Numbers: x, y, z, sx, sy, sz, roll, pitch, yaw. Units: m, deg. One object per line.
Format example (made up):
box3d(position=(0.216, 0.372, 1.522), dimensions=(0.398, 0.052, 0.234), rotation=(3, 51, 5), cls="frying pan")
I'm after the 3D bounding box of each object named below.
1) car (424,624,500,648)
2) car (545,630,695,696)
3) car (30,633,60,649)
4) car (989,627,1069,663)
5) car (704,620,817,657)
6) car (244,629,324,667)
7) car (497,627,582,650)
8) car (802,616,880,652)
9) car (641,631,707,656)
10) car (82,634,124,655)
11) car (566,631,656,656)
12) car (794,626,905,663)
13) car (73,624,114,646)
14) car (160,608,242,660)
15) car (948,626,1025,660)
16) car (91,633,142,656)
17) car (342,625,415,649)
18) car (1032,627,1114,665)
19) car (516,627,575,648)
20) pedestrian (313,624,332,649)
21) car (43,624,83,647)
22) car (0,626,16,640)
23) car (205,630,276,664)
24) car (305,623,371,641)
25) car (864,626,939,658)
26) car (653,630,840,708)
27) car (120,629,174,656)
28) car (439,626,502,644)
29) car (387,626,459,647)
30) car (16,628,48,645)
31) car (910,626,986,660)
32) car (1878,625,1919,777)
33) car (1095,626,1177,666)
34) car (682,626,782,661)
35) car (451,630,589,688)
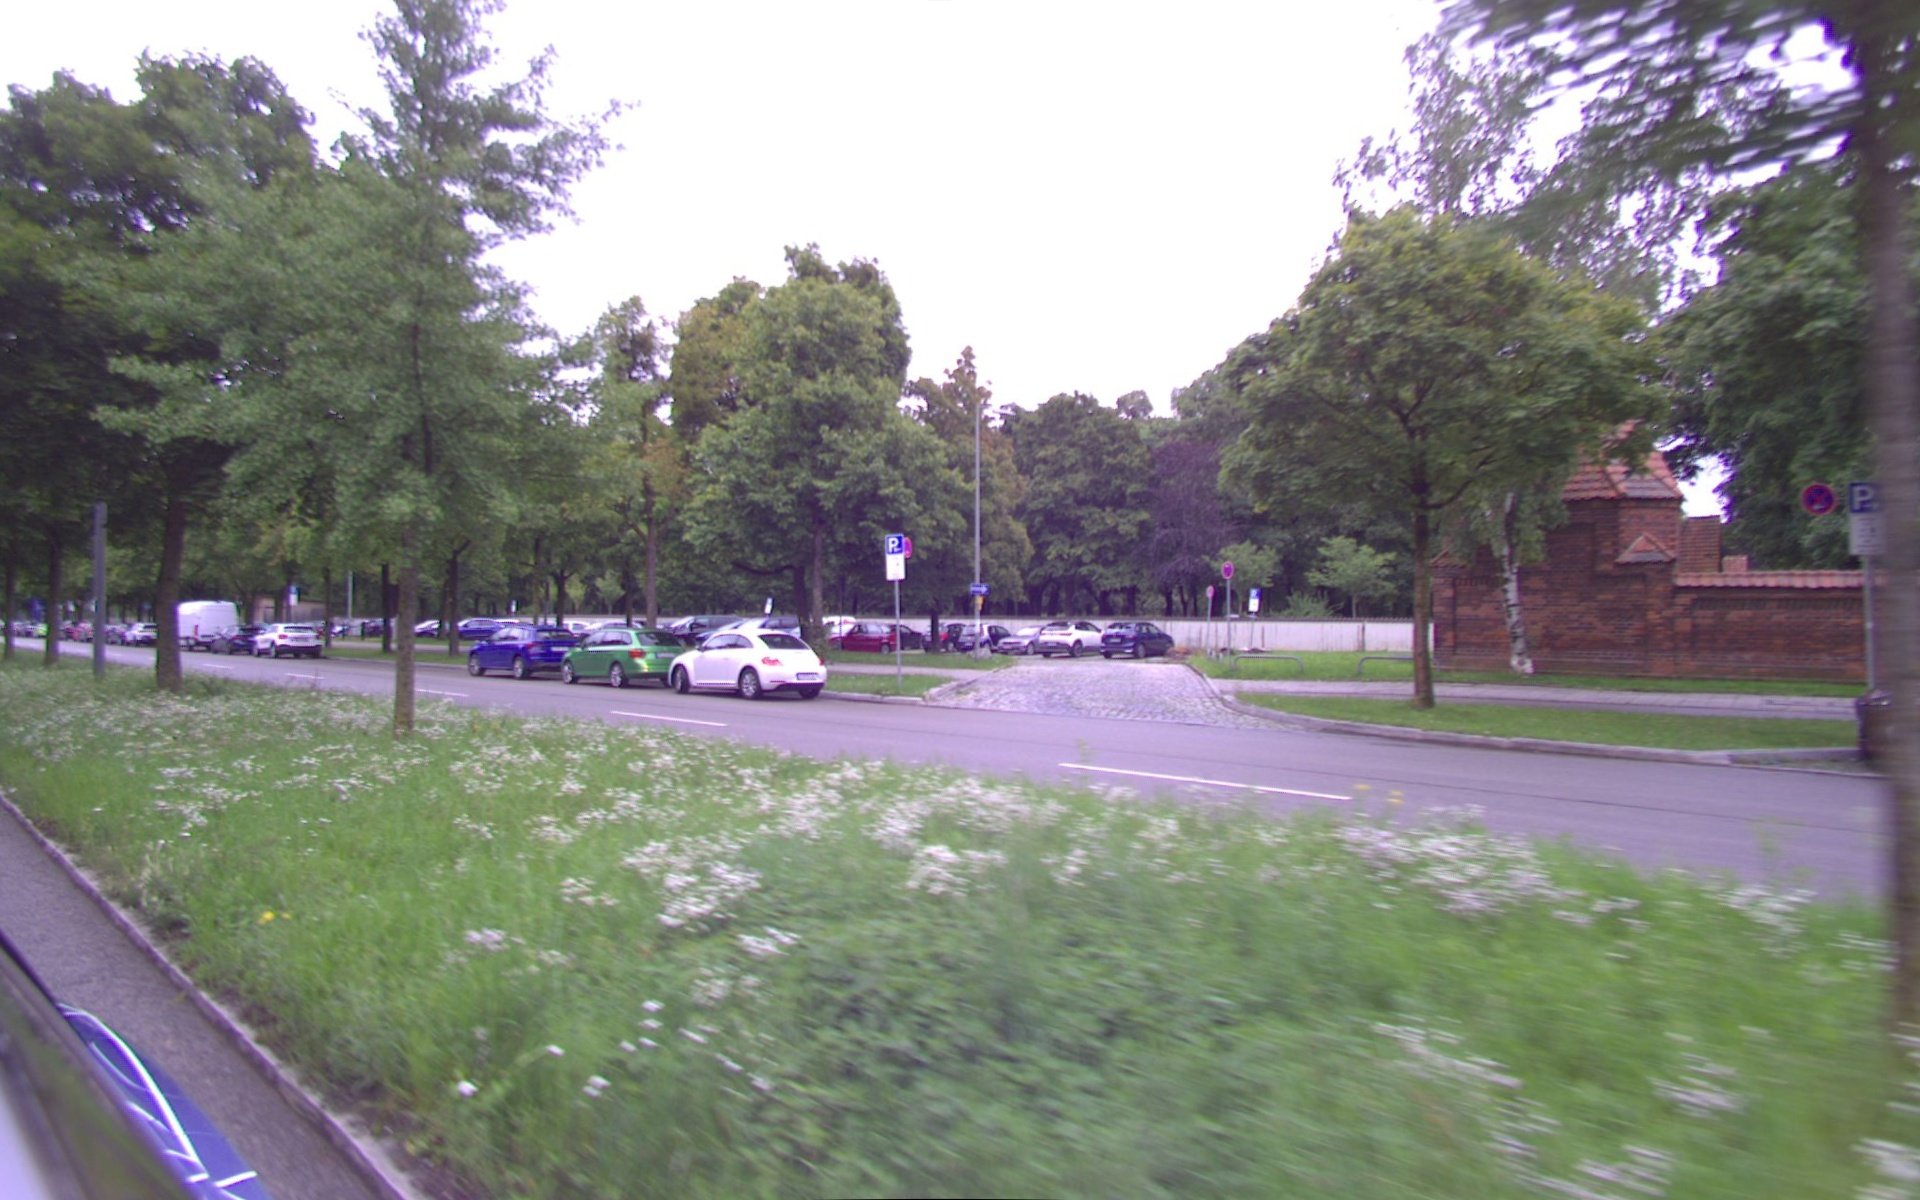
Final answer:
box3d(position=(-31.367, 2.263, 63.856), dimensions=(3.940, 1.449, 1.816), rotation=(1, -2, -44), cls="car")
box3d(position=(-8.685, 1.561, 25.691), dimensions=(4.312, 1.549, 1.621), rotation=(-1, -4, 41), cls="car")
box3d(position=(-85.035, 3.793, 94.044), dimensions=(3.999, 1.511, 1.622), rotation=(-2, -4, 42), cls="car")
box3d(position=(3.353, 2.123, 48.663), dimensions=(1.814, 1.548, 3.946), rotation=(-1, 0, 40), cls="car")
box3d(position=(-8.498, 1.632, 43.271), dimensions=(4.293, 1.516, 2.004), rotation=(1, -2, -39), cls="car")
box3d(position=(-29.782, 2.062, 44.554), dimensions=(4.139, 1.502, 1.838), rotation=(0, -1, 40), cls="car")
box3d(position=(-22.880, 2.059, 55.159), dimensions=(1.784, 1.219, 3.942), rotation=(-2, -2, 44), cls="car")
box3d(position=(-7.041, 1.997, 60.257), dimensions=(1.999, 2.050, 4.459), rotation=(-1, -2, 40), cls="car")
box3d(position=(-19.238, 2.910, 68.130), dimensions=(3.940, 1.608, 1.771), rotation=(1, -2, -44), cls="car")
box3d(position=(-60.935, 3.158, 71.944), dimensions=(4.001, 1.420, 1.801), rotation=(-1, -4, 44), cls="car")
box3d(position=(-18.379, 2.278, 53.436), dimensions=(1.784, 1.219, 4.126), rotation=(-2, -2, 44), cls="car")
box3d(position=(-4.331, 1.724, 40.116), dimensions=(1.758, 1.403, 4.367), rotation=(-1, -2, 41), cls="car")
box3d(position=(-64.634, 2.585, 75.464), dimensions=(4.112, 1.611, 1.802), rotation=(-1, -2, 43), cls="car")
box3d(position=(-41.331, 1.871, 55.037), dimensions=(7.102, 2.664, 2.117), rotation=(-2, -4, 42), cls="car")
box3d(position=(1.361, 2.133, 50.870), dimensions=(1.814, 1.548, 3.946), rotation=(-1, 0, 40), cls="car")
box3d(position=(-55.890, 2.947, 67.042), dimensions=(3.995, 1.459, 1.804), rotation=(-1, -3, 38), cls="car")
box3d(position=(-39.667, 2.527, 69.103), dimensions=(1.810, 1.582, 3.952), rotation=(-1, -2, 35), cls="car")
box3d(position=(5.176, 2.053, 46.053), dimensions=(1.814, 1.548, 3.946), rotation=(-1, 0, 40), cls="car")
box3d(position=(-32.799, 2.950, 80.081), dimensions=(3.940, 1.666, 1.771), rotation=(1, -2, -44), cls="car")
box3d(position=(-39.236, 2.235, 62.284), dimensions=(0.856, 1.507, 0.786), rotation=(-1, -2, 41), cls="pedestrian")
box3d(position=(-72.329, 2.872, 81.607), dimensions=(4.236, 1.712, 1.803), rotation=(0, -1, 40), cls="car")
box3d(position=(-104.517, 3.594, 110.348), dimensions=(3.784, 1.457, 1.803), rotation=(-1, -4, 39), cls="car")
box3d(position=(-35.387, 2.257, 49.715), dimensions=(4.249, 1.502, 1.838), rotation=(0, -1, 40), cls="car")
box3d(position=(-47.663, 2.425, 77.565), dimensions=(1.737, 1.293, 3.952), rotation=(-1, -2, 35), cls="car")
box3d(position=(-3.141, 2.229, 54.917), dimensions=(1.814, 1.548, 3.946), rotation=(-1, 0, 40), cls="car")
box3d(position=(-4.738, 1.461, 22.165), dimensions=(4.312, 1.549, 1.742), rotation=(-1, -4, 41), cls="car")
box3d(position=(-51.467, 2.694, 64.051), dimensions=(4.296, 1.539, 1.803), rotation=(0, -3, 40), cls="car")
box3d(position=(-41.870, 2.970, 86.663), dimensions=(1.999, 1.453, 4.459), rotation=(-1, -2, 40), cls="car")
box3d(position=(-36.286, 2.427, 68.475), dimensions=(1.815, 1.349, 3.942), rotation=(-2, -2, 44), cls="car")
box3d(position=(-91.209, 3.555, 99.422), dimensions=(4.454, 1.643, 1.802), rotation=(-1, -3, 41), cls="car")
box3d(position=(-0.577, 2.194, 52.501), dimensions=(1.814, 1.548, 3.946), rotation=(-1, 0, 40), cls="car")
box3d(position=(12.038, 1.040, 9.989), dimensions=(4.295, 1.548, 1.795), rotation=(-1, -1, 40), cls="car")
box3d(position=(7.764, 1.985, 44.411), dimensions=(1.814, 1.548, 3.946), rotation=(-1, 0, 40), cls="car")
box3d(position=(-10.289, 1.947, 45.761), dimensions=(3.934, 1.516, 2.005), rotation=(1, -2, -36), cls="car")
box3d(position=(-12.753, 1.670, 29.242), dimensions=(4.310, 1.549, 1.867), rotation=(-1, -4, 40), cls="car")
